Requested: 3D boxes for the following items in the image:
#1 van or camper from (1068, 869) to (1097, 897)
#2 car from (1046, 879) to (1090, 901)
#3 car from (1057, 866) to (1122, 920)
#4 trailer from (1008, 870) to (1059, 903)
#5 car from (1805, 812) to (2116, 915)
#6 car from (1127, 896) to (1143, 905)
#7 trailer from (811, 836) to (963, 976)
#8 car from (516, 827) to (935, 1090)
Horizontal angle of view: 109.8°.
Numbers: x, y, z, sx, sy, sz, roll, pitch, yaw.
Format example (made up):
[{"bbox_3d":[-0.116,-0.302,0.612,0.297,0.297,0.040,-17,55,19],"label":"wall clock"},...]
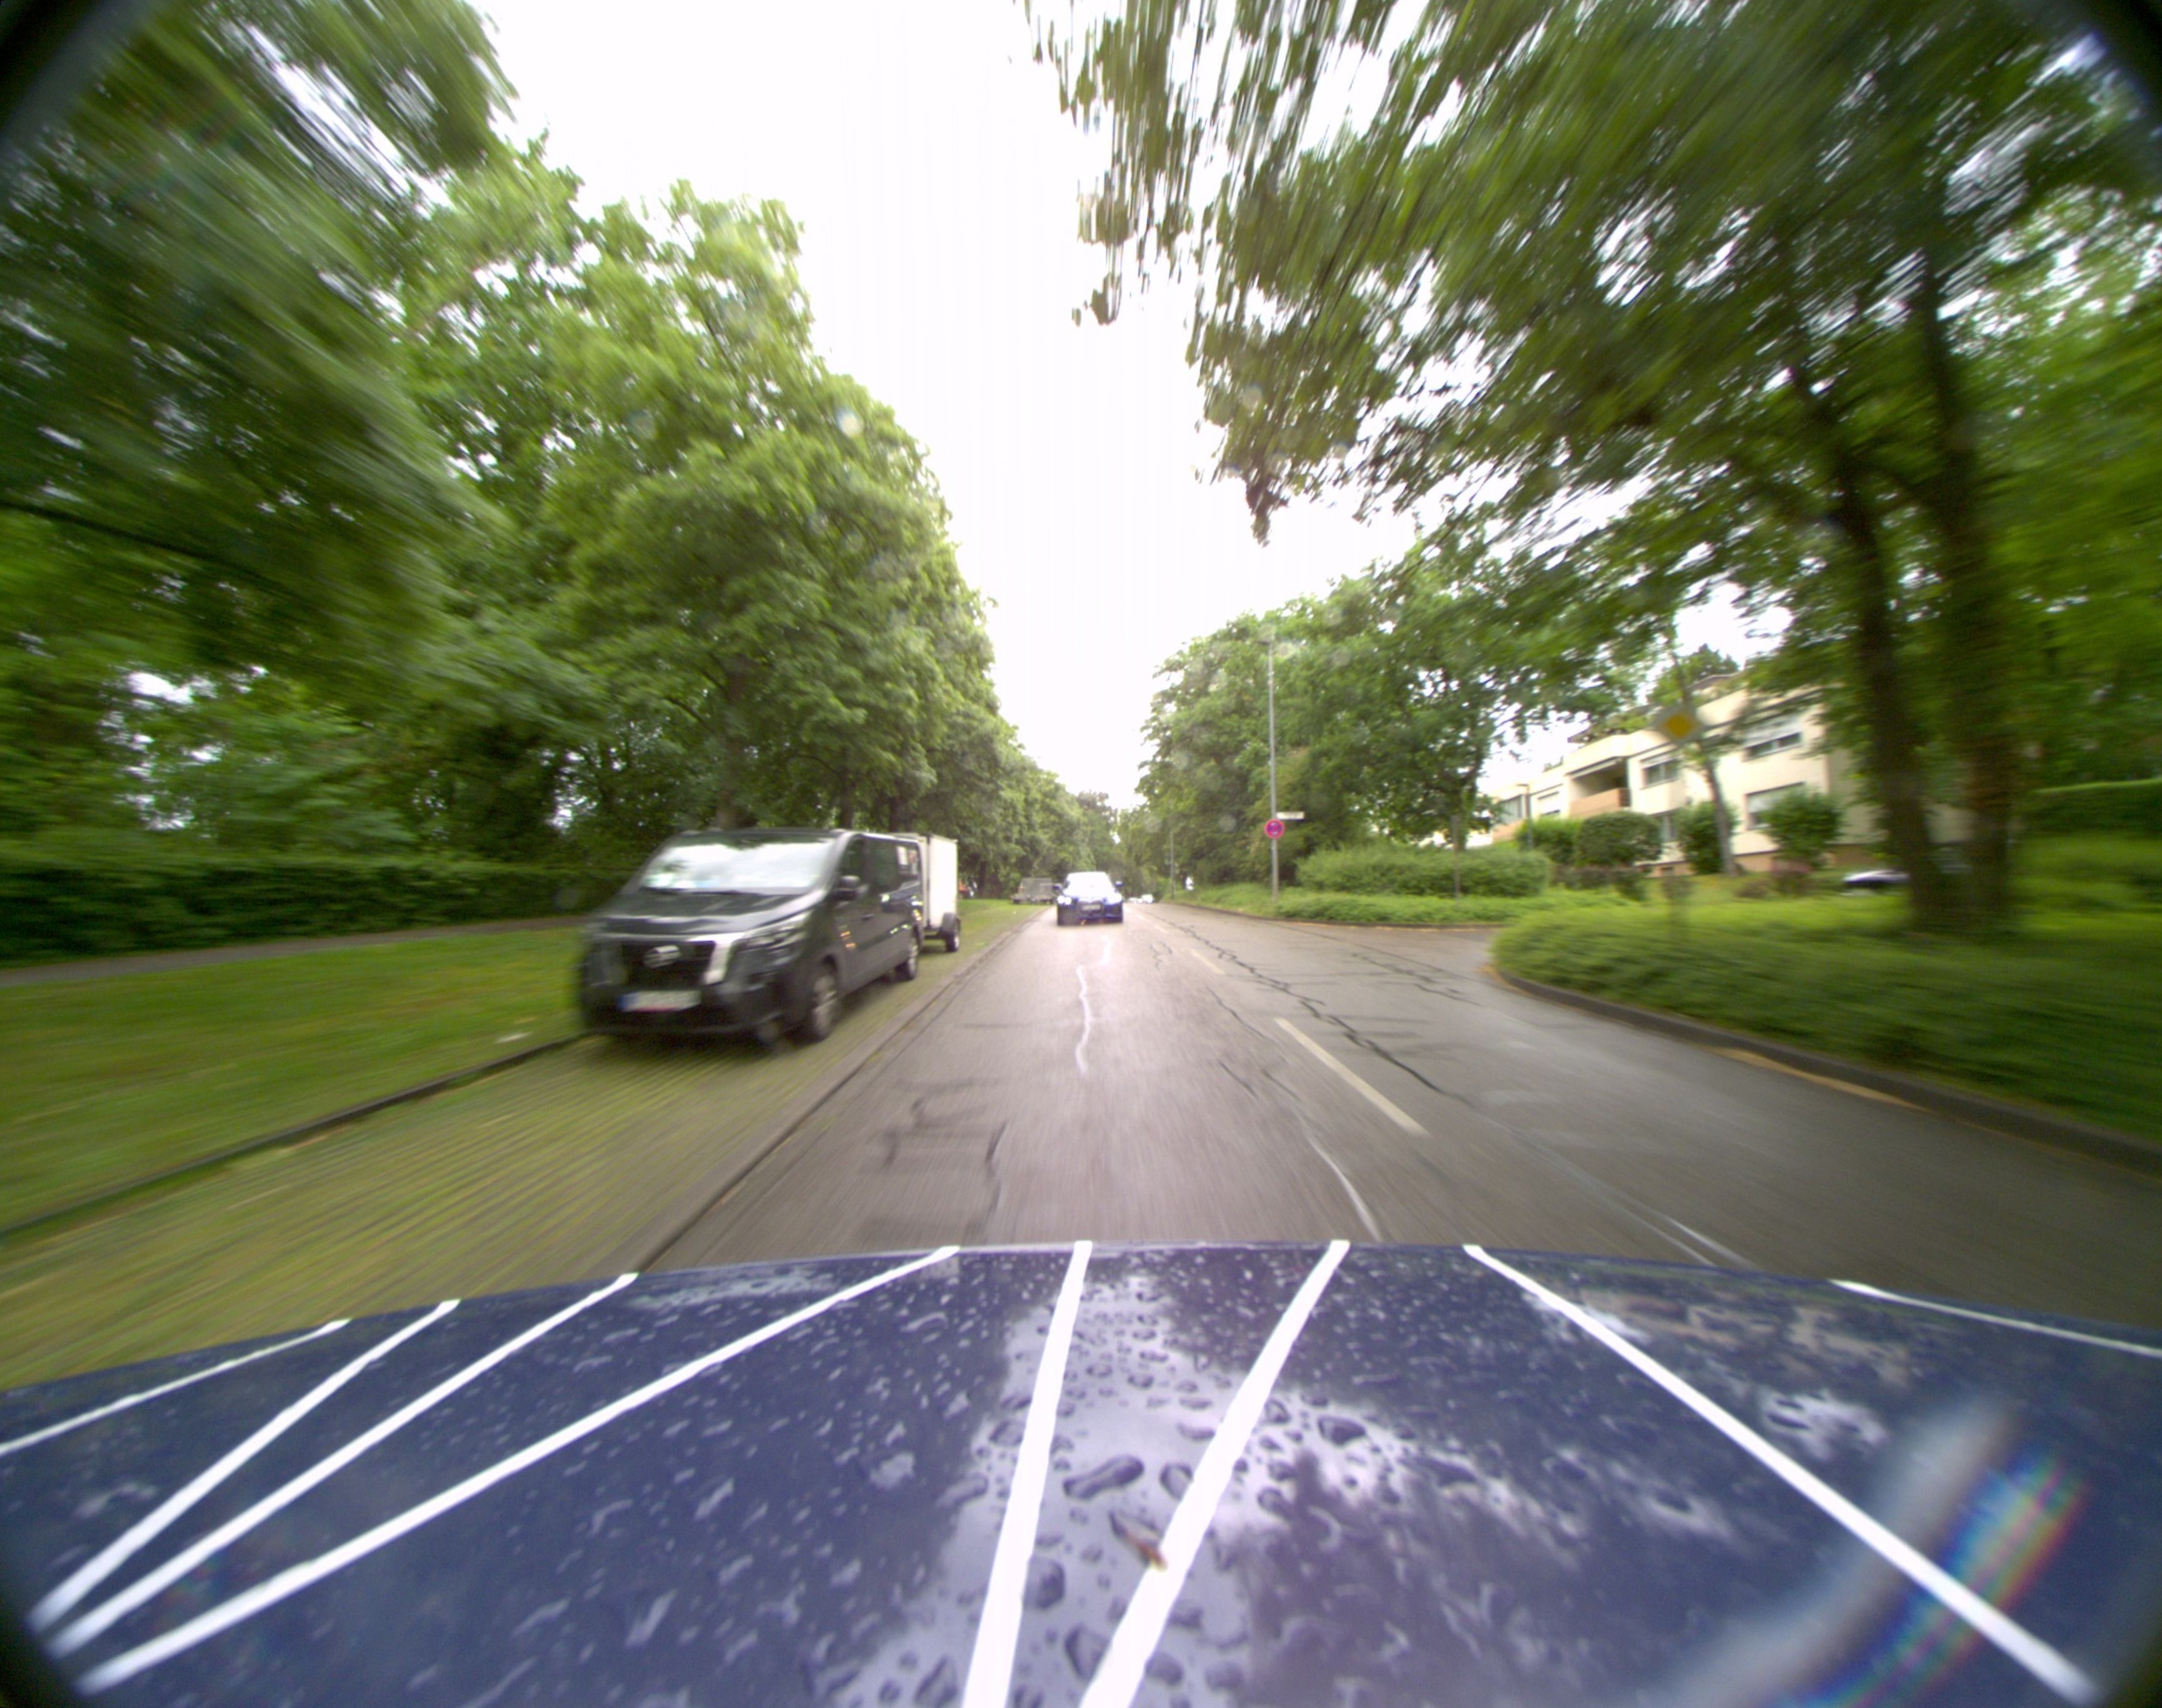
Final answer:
[{"bbox_3d":[0.231,3.256,82.189,2.020,2.565,8.447,-3,-5,7],"label":"van or camper"},{"bbox_3d":[-1.115,2.915,61.772,1.615,1.670,3.998,2,-3,-35],"label":"car"},{"bbox_3d":[0.267,1.254,23.682,1.839,1.500,4.003,-1,-4,1],"label":"car"},{"bbox_3d":[-2.703,1.891,44.917,2.455,1.801,5.895,0,-2,2],"label":"trailer"},{"bbox_3d":[18.973,0.284,16.633,3.994,2.000,2.003,-2,-4,10],"label":"car"},{"bbox_3d":[8.413,7.216,117.862,1.703,1.452,4.225,-1,-4,14],"label":"car"},{"bbox_3d":[-3.174,0.801,13.217,1.533,2.063,4.001,0,-1,1],"label":"trailer"},{"bbox_3d":[-3.143,0.794,8.341,1.999,1.898,5.509,-1,-1,0],"label":"car"}]
